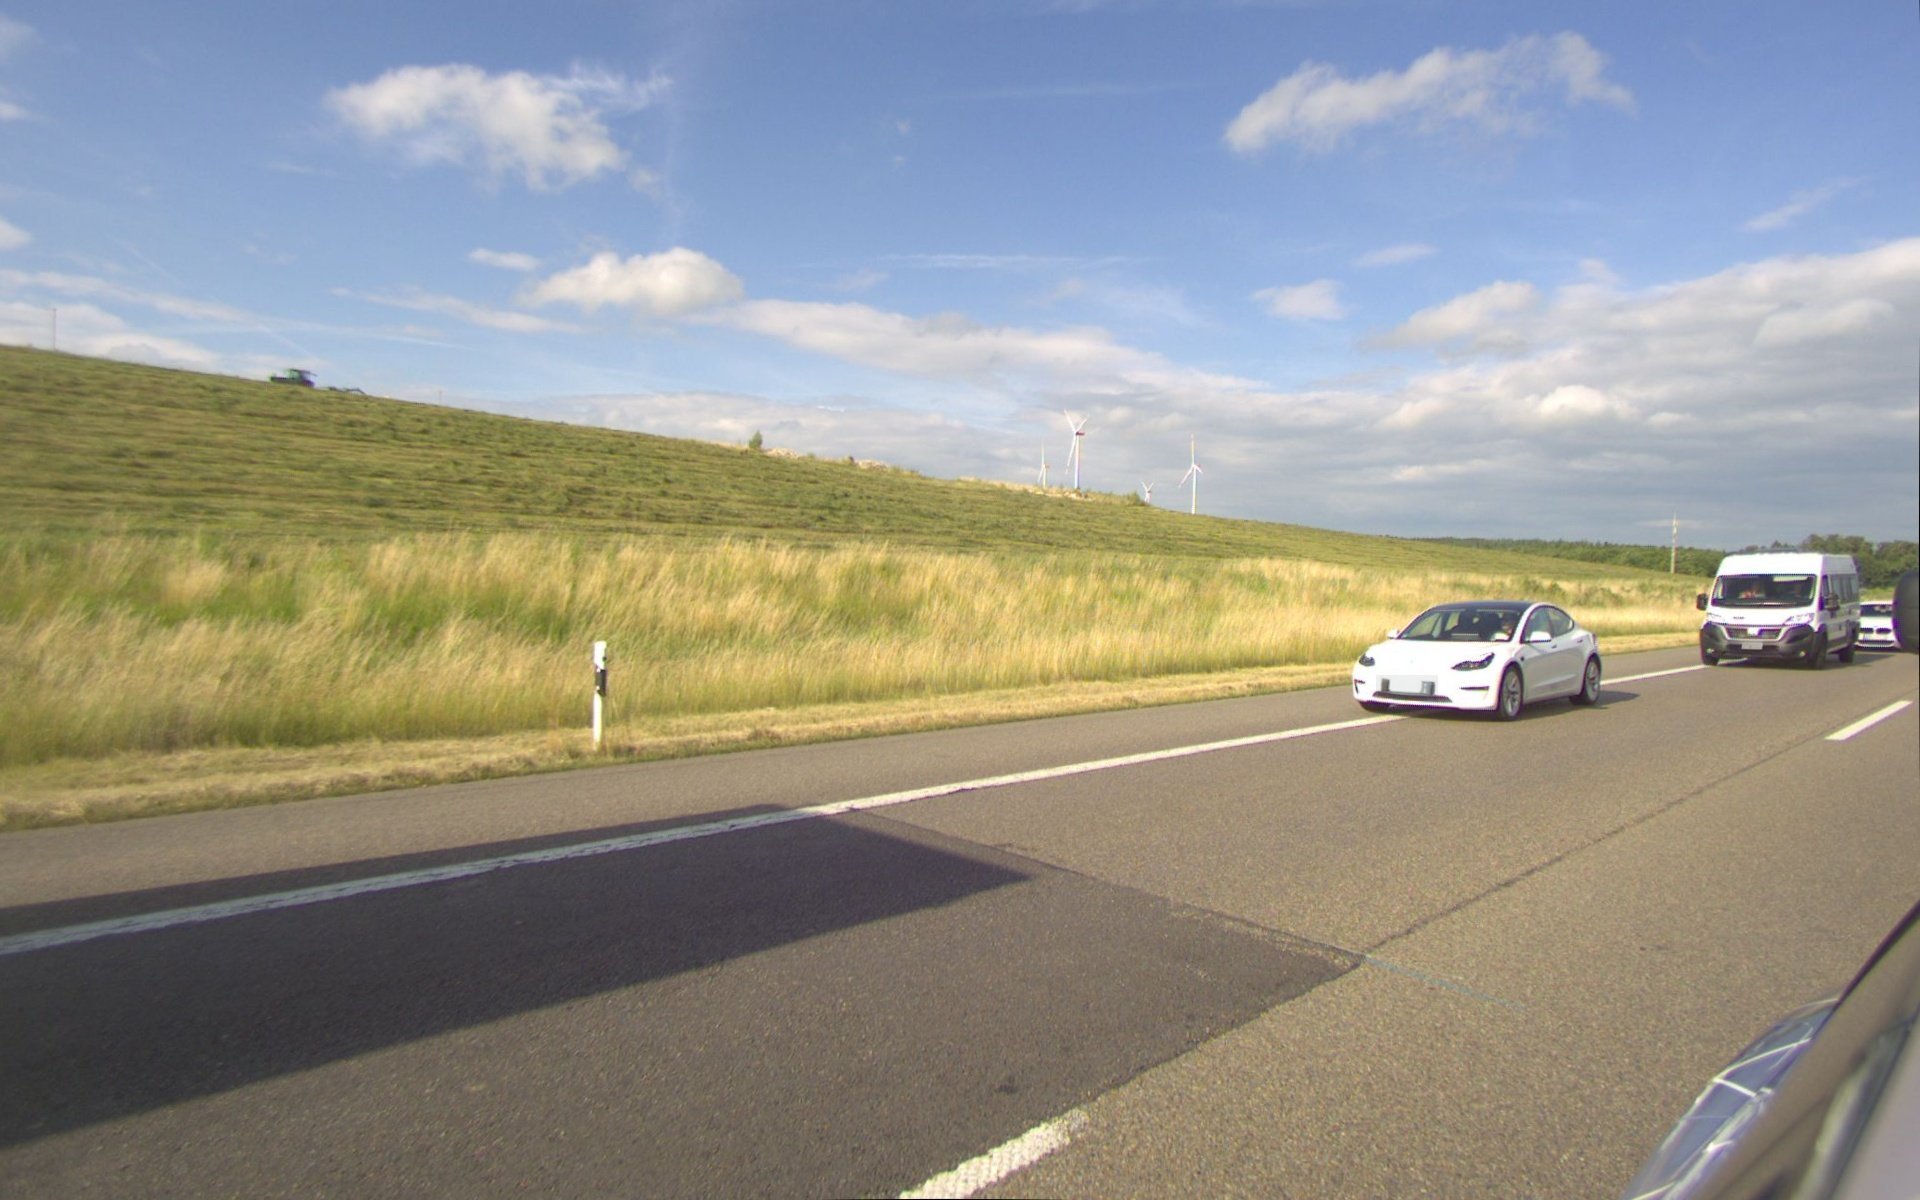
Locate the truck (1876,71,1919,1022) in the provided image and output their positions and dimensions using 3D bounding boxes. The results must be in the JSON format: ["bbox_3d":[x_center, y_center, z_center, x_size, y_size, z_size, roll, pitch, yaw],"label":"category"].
[{"bbox_3d":[8.063,-0.148,6.198,10.970,3.199,2.499,0,0,-42],"label":"truck"}]

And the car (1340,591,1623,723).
[{"bbox_3d":[7.041,0.614,13.468,4.384,1.435,1.870,-1,1,-41],"label":"car"}]

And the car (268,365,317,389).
[{"bbox_3d":[-65.305,-21.797,99.049,3.926,1.565,1.709,-1,1,-37],"label":"car"}]

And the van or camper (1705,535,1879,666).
[{"bbox_3d":[18.880,-0.046,22.829,6.303,2.576,2.100,-1,1,-42],"label":"van or camper"}]

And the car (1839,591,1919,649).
[{"bbox_3d":[26.699,0.512,29.082,3.930,1.512,1.649,-1,1,-41],"label":"car"}]
